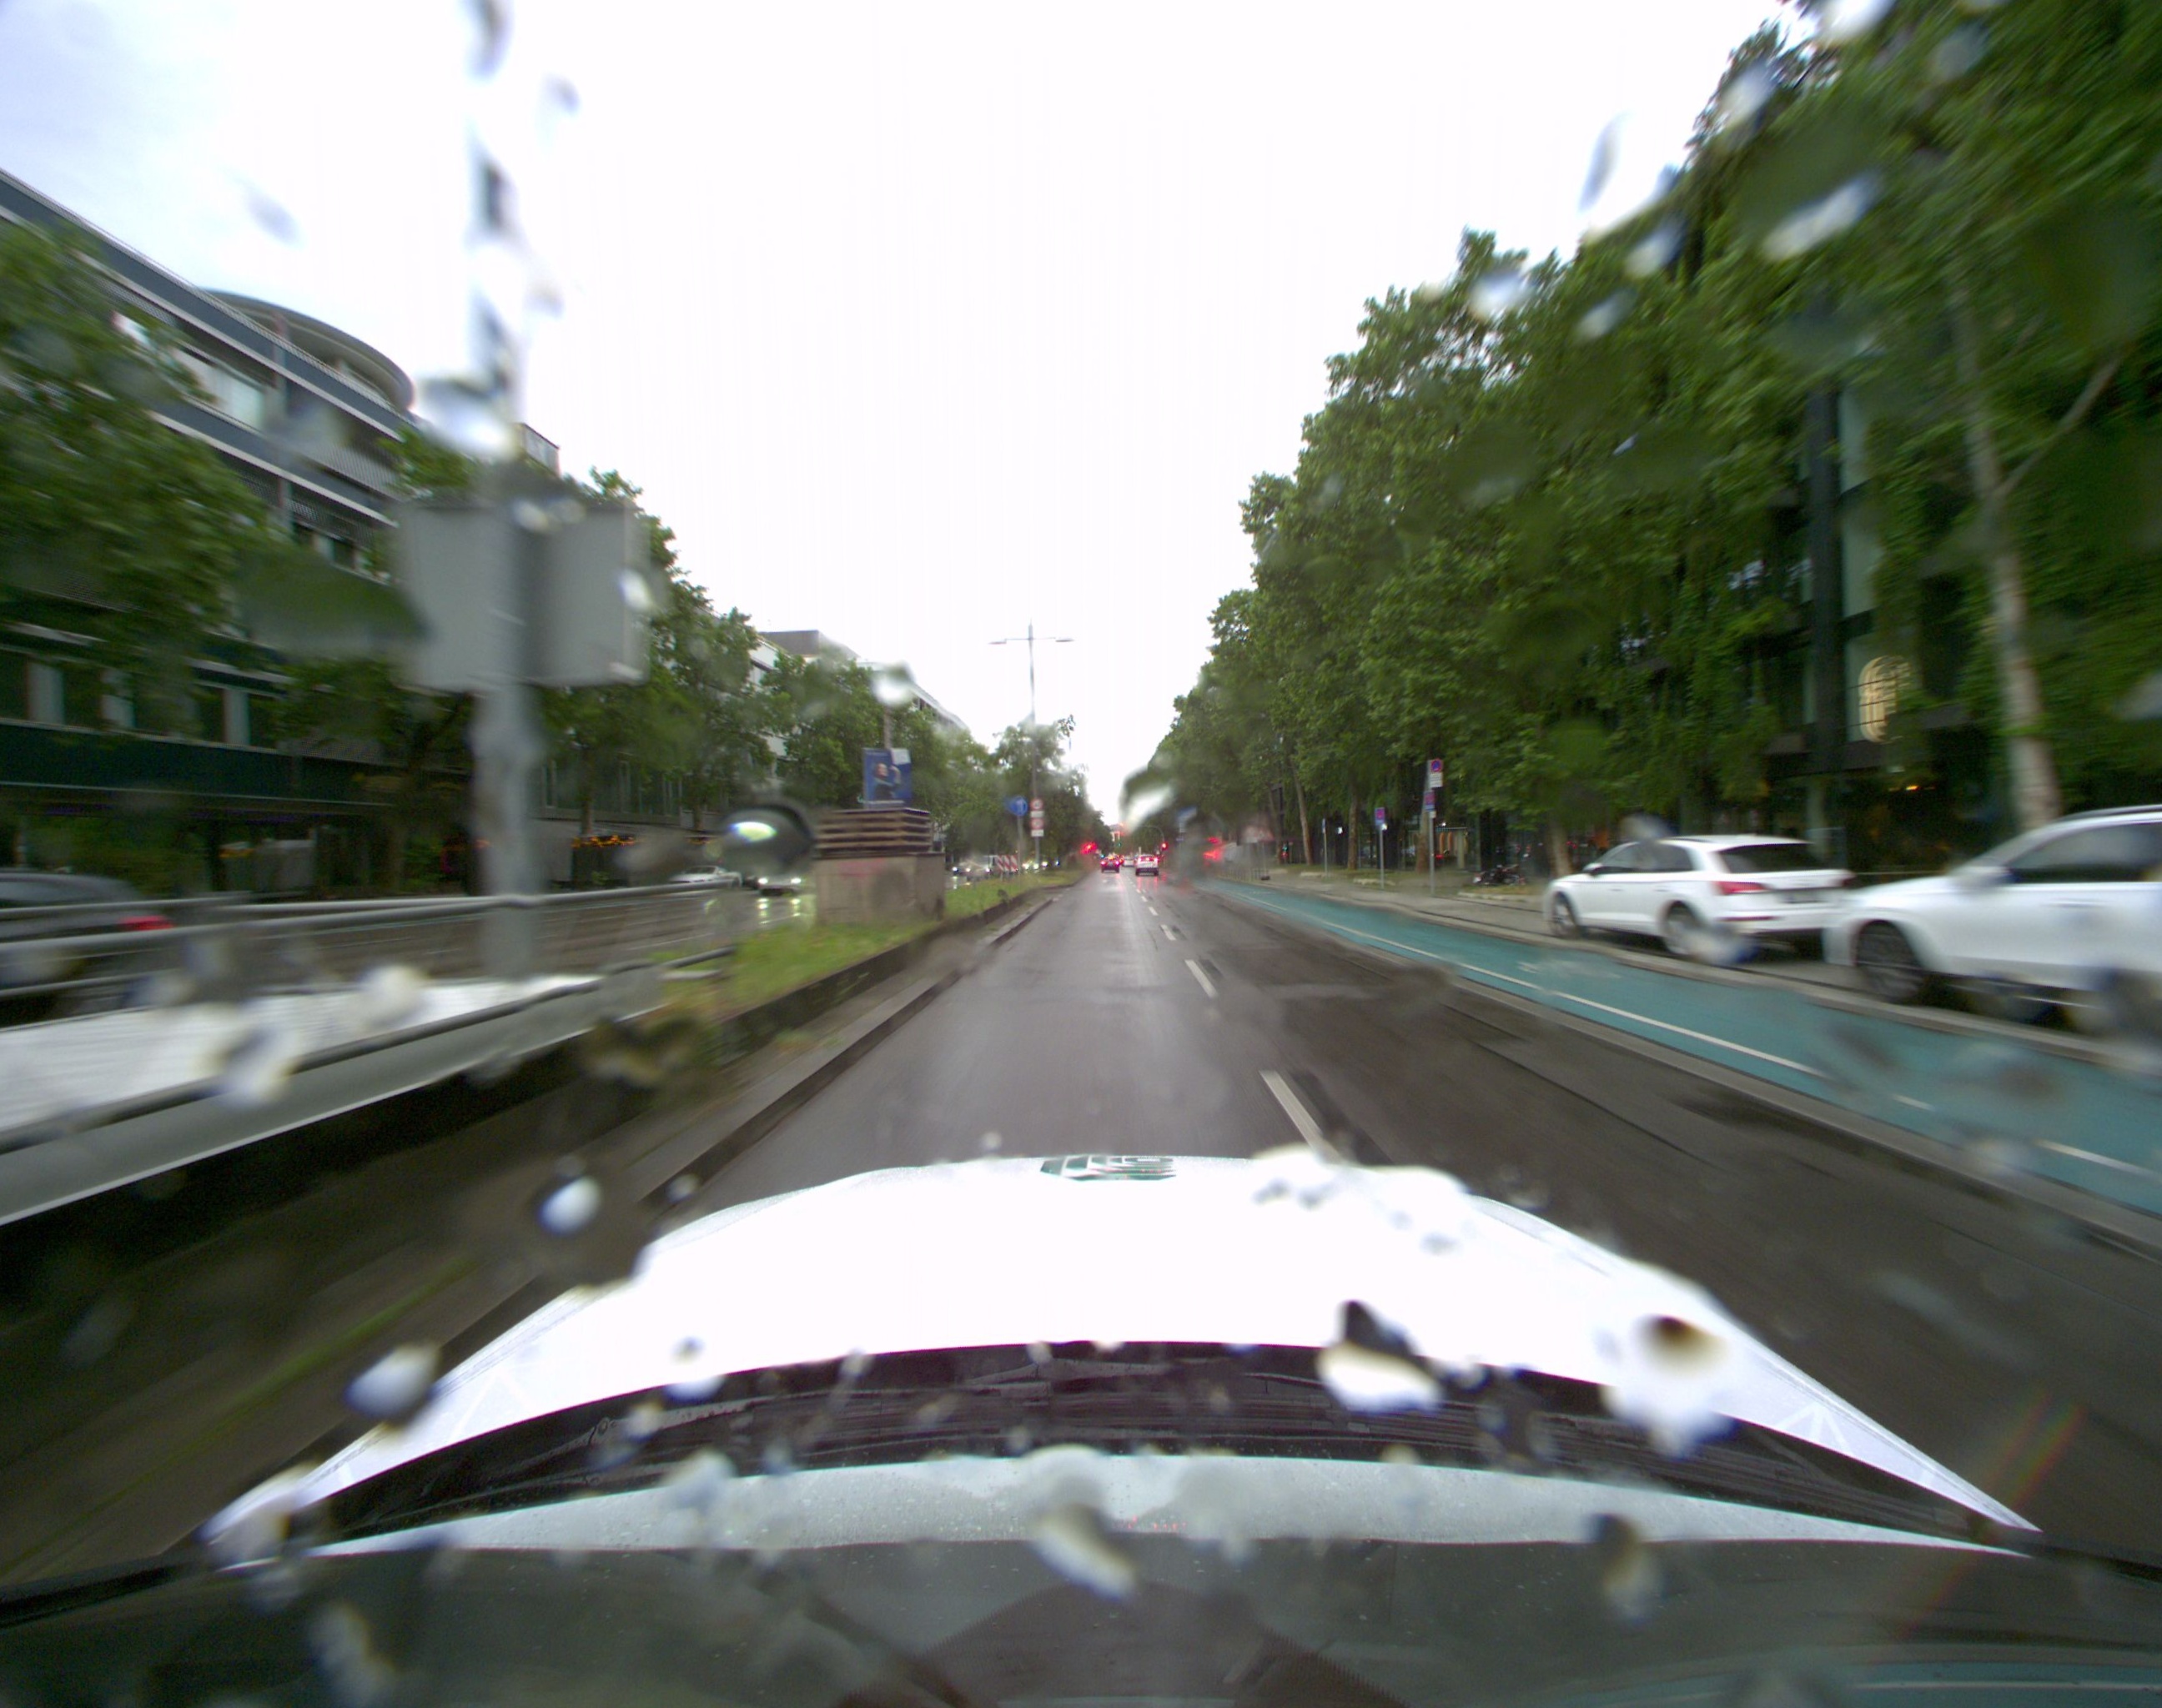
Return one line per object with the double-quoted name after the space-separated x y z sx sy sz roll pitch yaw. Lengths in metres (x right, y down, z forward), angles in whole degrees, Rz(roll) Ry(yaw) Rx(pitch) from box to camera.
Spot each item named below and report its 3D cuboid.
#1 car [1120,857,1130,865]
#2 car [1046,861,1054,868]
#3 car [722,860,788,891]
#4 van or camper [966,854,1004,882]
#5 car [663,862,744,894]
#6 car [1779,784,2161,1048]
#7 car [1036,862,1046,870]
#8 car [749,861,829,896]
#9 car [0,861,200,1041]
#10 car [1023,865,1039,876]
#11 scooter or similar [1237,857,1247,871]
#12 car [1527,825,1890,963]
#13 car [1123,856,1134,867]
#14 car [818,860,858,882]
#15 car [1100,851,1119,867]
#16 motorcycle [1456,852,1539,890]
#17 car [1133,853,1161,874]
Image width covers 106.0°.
7.834 1.200 145.979 1.614 1.374 4.002 -1 0 2 "car"
-6.795 2.308 179.717 1.608 1.394 3.599 -1 0 2 "car"
-17.724 1.130 44.487 1.830 1.508 4.002 -1 0 2 "car"
-7.108 0.981 60.711 1.986 1.913 5.253 -1 0 2 "van or camper"
-17.982 1.108 39.071 1.553 1.353 4.685 0 0 2 "car"
8.453 0.391 6.361 1.835 1.838 5.099 -2 0 4 "car"
-7.796 2.325 159.494 1.608 1.394 4.186 -1 0 2 "car"
-13.436 1.092 37.838 1.961 1.409 4.954 -1 0 -1 "car"
-10.398 0.871 6.419 1.907 1.552 4.541 -1 0 0 "car"
-6.760 2.190 111.009 1.836 1.429 3.644 -1 0 2 "car"
14.660 0.881 74.060 0.377 1.228 1.086 -2 -1 38 "scooter or similar"
8.886 0.478 12.230 1.837 1.632 4.788 -1 0 1 "car"
7.875 1.261 134.506 1.614 1.666 4.002 -2 0 2 "car"
-16.969 1.160 56.983 1.686 1.468 3.461 -1 0 2 "car"
2.882 0.509 83.001 1.911 1.491 4.002 -1 0 2 "car"
14.039 0.557 27.516 2.299 1.270 1.053 0 0 0 "motorcycle"
5.376 0.768 66.819 1.986 1.655 4.891 -1 0 2 "car"
